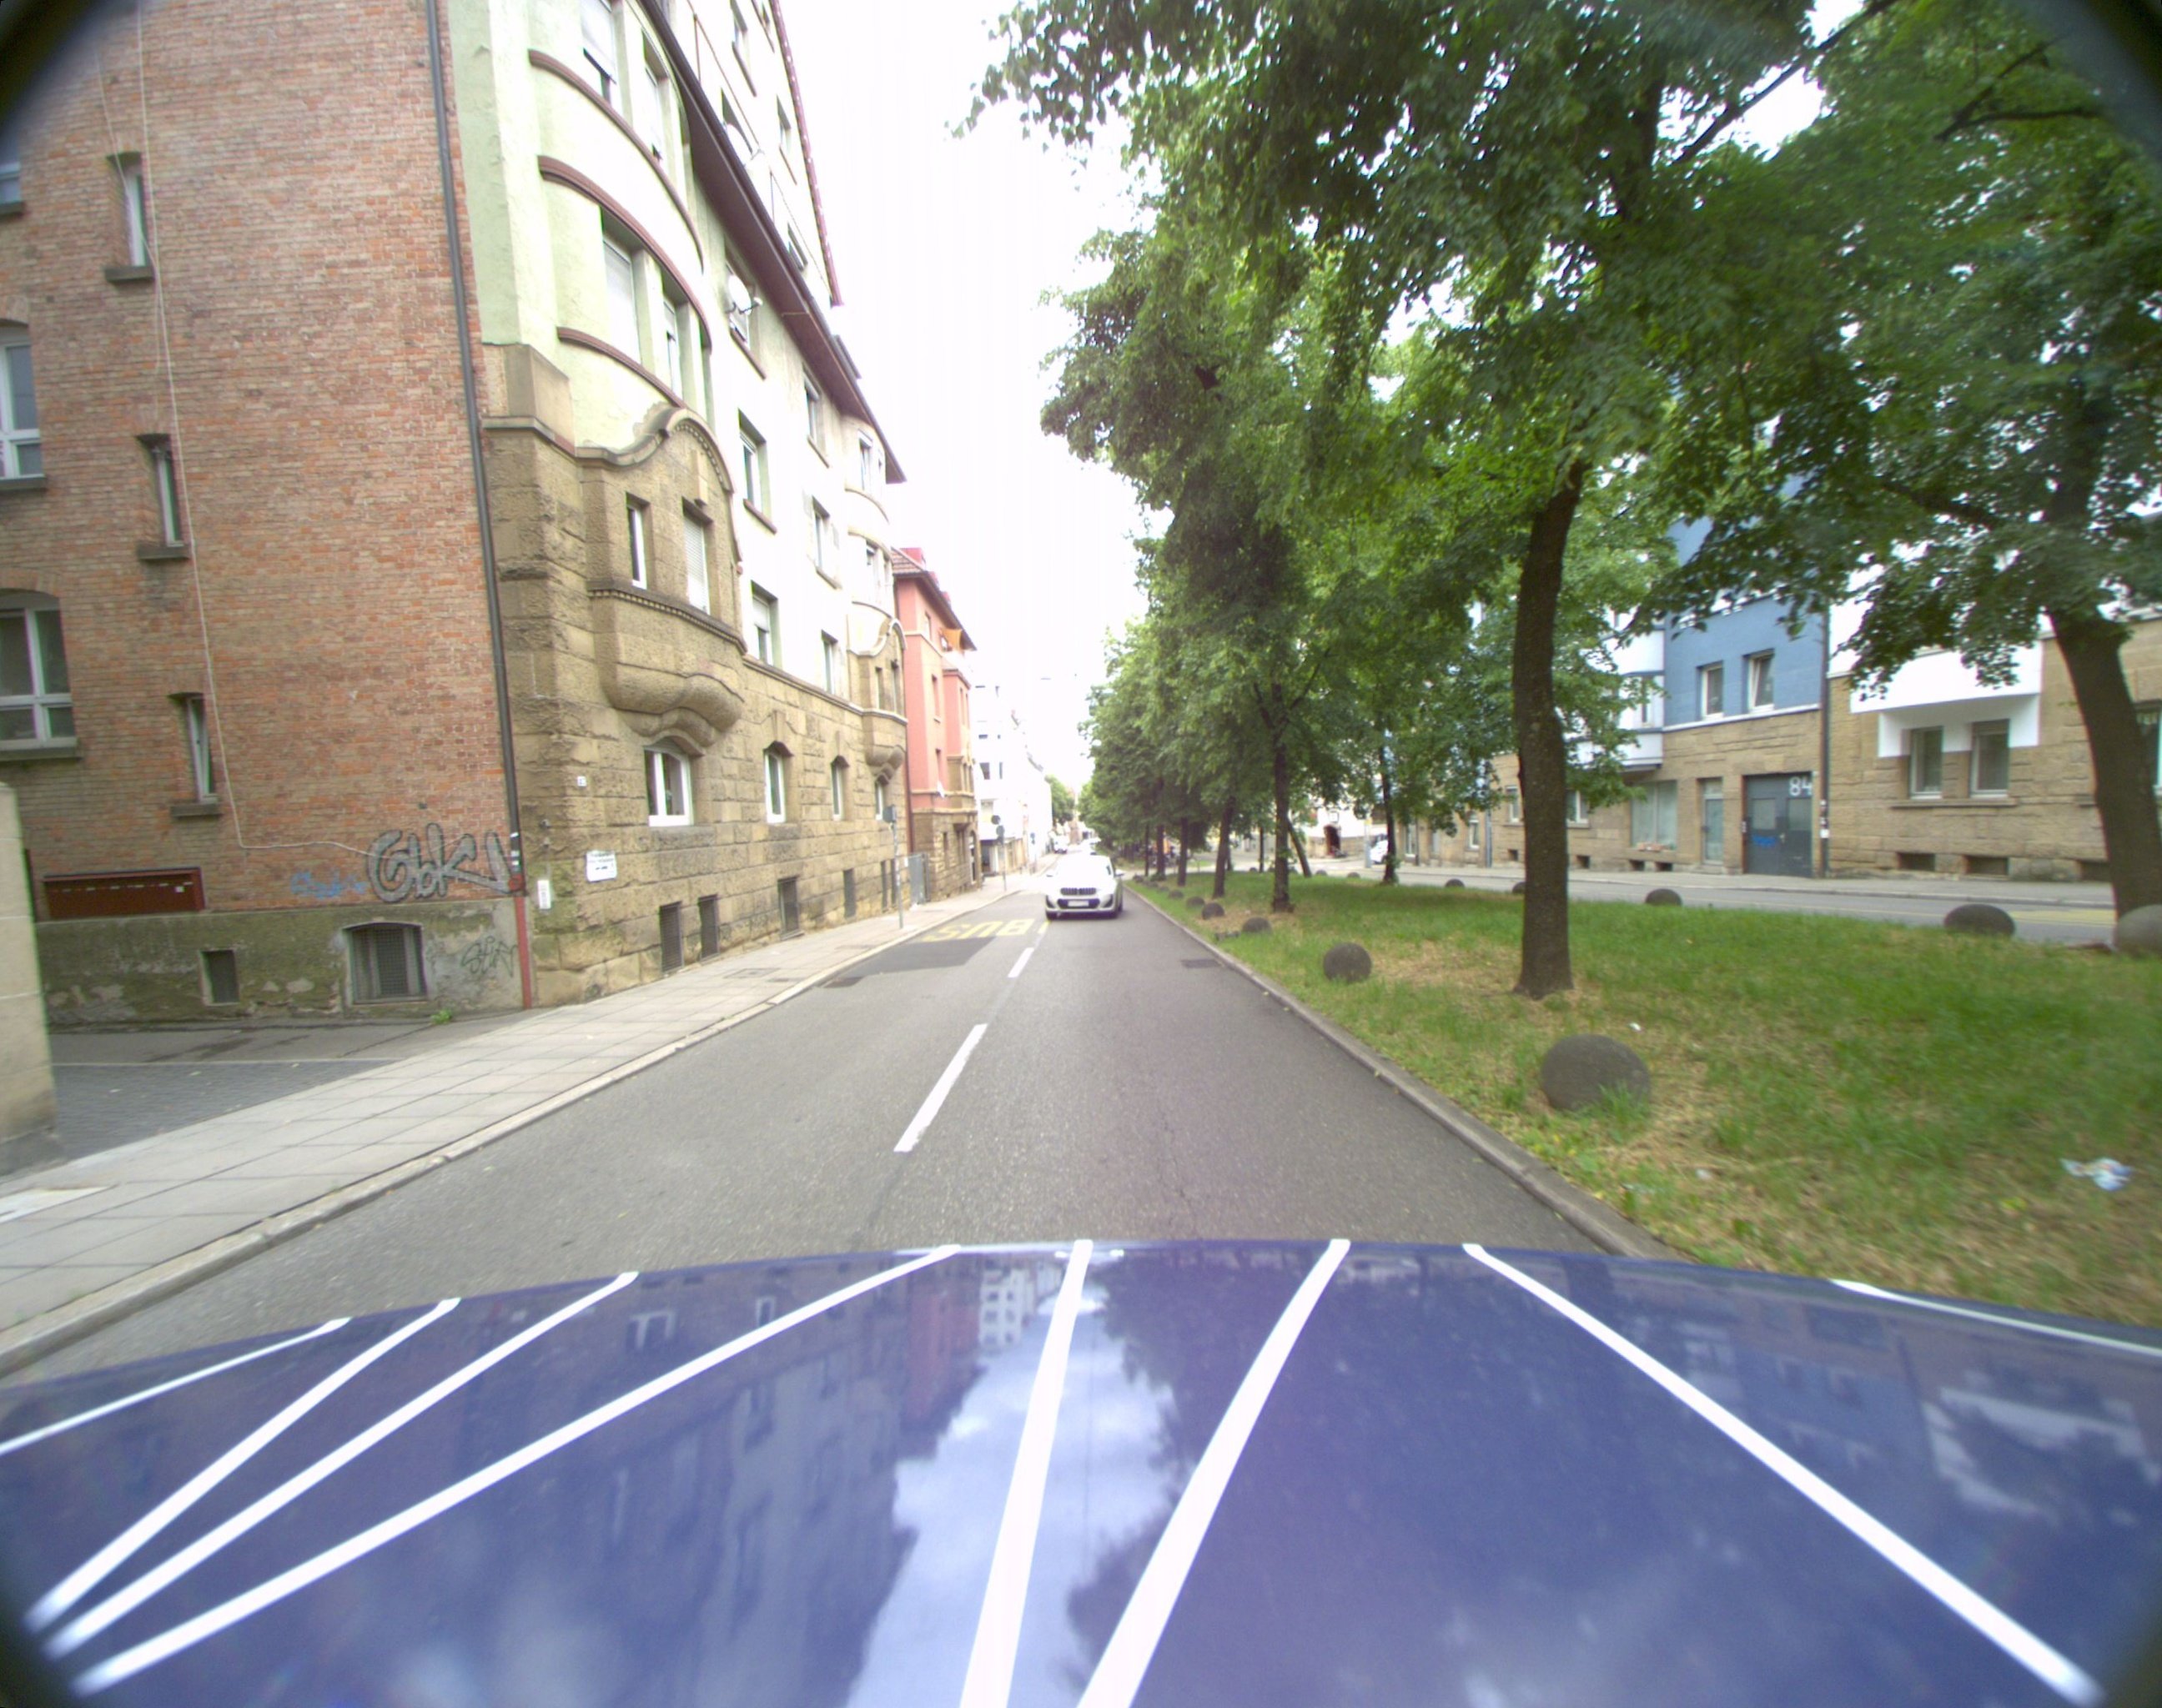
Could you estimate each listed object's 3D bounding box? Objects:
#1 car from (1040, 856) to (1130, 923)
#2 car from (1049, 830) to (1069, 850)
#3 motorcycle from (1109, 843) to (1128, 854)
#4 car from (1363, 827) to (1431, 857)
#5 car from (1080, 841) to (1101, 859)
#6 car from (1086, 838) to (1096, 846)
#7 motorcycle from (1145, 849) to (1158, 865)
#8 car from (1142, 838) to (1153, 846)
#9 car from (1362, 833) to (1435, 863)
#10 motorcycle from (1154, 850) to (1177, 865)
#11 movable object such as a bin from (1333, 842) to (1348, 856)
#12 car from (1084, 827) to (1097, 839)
[{"bbox_3d":[0.243,0.890,20.888,1.853,1.595,4.566,-2,-1,8],"label":"car"},{"bbox_3d":[-3.566,-2.303,123.931,3.026,3.045,7.165,-2,2,-1],"label":"car"},{"bbox_3d":[4.232,-0.617,85.692,2.041,1.126,0.454,-4,4,1],"label":"motorcycle"},{"bbox_3d":[23.013,-0.890,55.443,4.007,1.690,1.871,-8,2,1],"label":"car"},{"bbox_3d":[0.860,-0.377,73.937,1.854,1.616,4.281,-3,0,0],"label":"car"},{"bbox_3d":[1.853,-2.175,136.527,1.783,1.420,4.281,-1,0,1],"label":"car"},{"bbox_3d":[5.757,0.222,61.598,0.888,1.090,2.481,-3,3,8],"label":"motorcycle"},{"bbox_3d":[13.541,-2.401,154.578,1.818,1.554,4.415,-3,1,0],"label":"car"},{"bbox_3d":[21.134,-0.408,50.684,4.007,1.462,1.870,-7,3,-2],"label":"car"},{"bbox_3d":[6.682,0.267,59.914,1.735,1.090,0.550,-3,4,4],"label":"motorcycle"},{"bbox_3d":[19.778,-0.363,57.911,0.888,0.988,0.668,-5,2,-1],"label":"movable object such as a bin"},{"bbox_3d":[2.580,-5.789,207.851,3.026,3.045,7.165,-2,2,-1],"label":"car"}]
